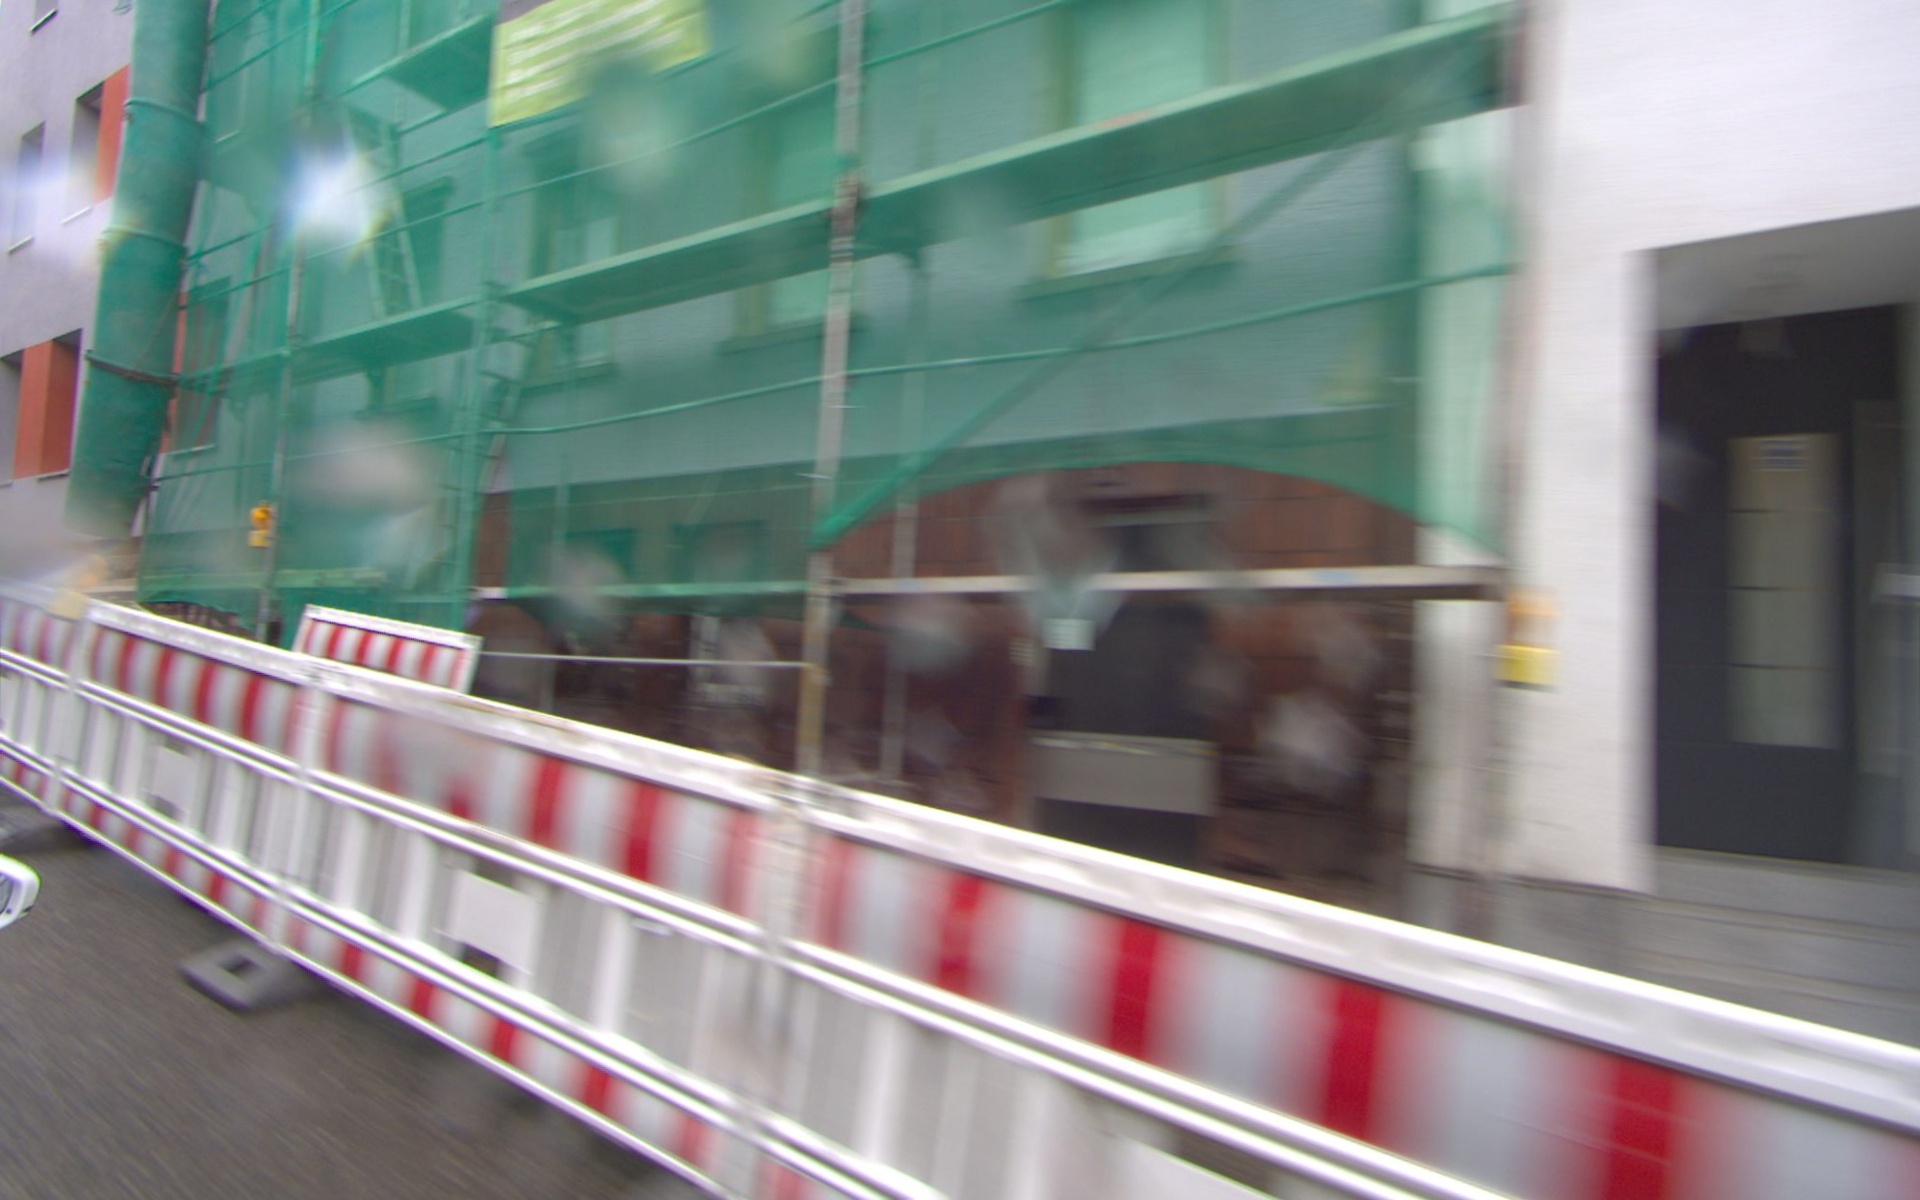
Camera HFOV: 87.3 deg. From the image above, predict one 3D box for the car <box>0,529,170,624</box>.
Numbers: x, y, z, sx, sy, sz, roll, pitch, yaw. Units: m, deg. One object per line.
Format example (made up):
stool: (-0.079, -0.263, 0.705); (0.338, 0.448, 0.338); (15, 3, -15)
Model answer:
car: (-17.899, -0.542, 18.946); (1.862, 1.483, 4.277); (7, -2, 30)

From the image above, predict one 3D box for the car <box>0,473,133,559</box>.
car: (-20.540, -1.855, 21.707); (1.699, 1.726, 3.824); (7, 4, 30)

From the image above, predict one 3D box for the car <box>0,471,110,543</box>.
car: (-22.521, -2.193, 23.023); (1.845, 1.552, 4.338); (7, 5, 30)

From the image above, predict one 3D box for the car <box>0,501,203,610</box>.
car: (-15.889, -0.829, 17.585); (1.632, 1.569, 3.809); (7, -1, 30)

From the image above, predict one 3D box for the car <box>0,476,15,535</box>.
car: (-26.715, -2.556, 25.301); (1.663, 1.551, 3.963); (6, 3, 27)
